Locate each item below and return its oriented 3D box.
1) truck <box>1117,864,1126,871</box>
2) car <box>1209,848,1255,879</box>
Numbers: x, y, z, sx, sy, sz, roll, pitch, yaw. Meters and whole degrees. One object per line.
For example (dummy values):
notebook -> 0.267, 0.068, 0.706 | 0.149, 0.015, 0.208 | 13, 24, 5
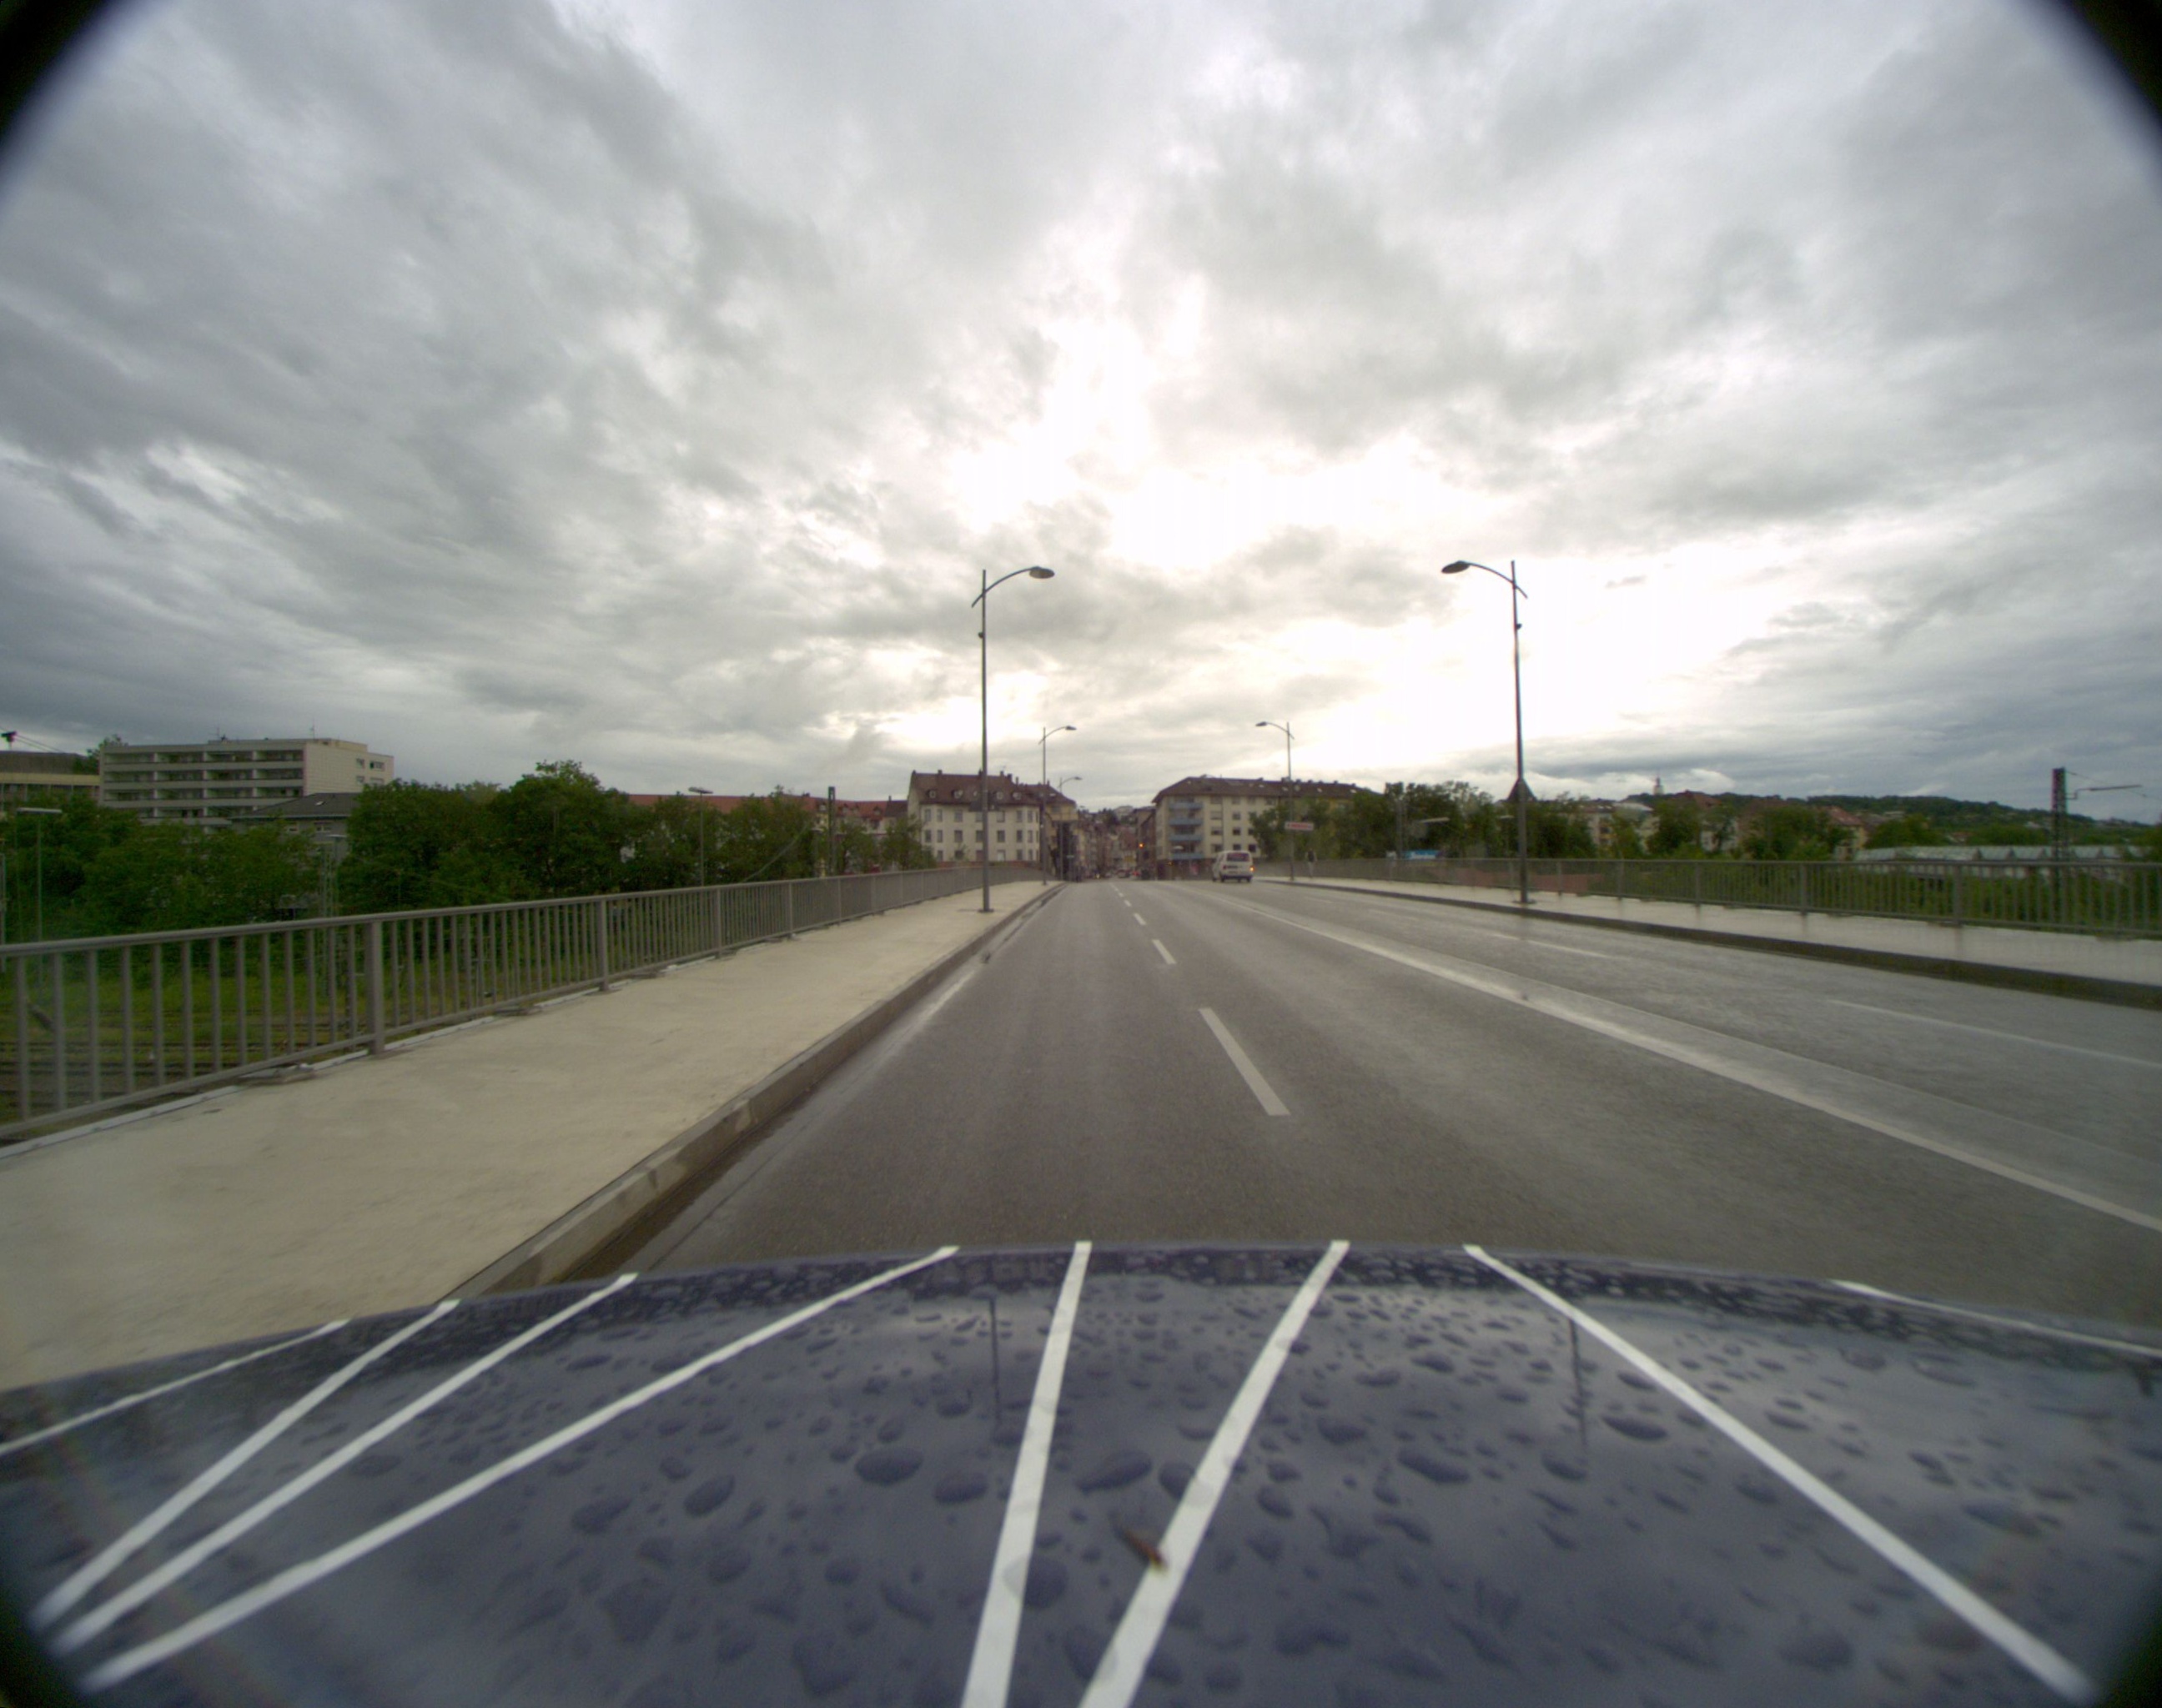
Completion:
truck -> 12.374, 4.191, 234.231 | 2.475, 2.001, 4.821 | -2, -1, 1
car -> 9.459, 0.576, 47.981 | 1.891, 1.811, 4.958 | -2, 0, 1
